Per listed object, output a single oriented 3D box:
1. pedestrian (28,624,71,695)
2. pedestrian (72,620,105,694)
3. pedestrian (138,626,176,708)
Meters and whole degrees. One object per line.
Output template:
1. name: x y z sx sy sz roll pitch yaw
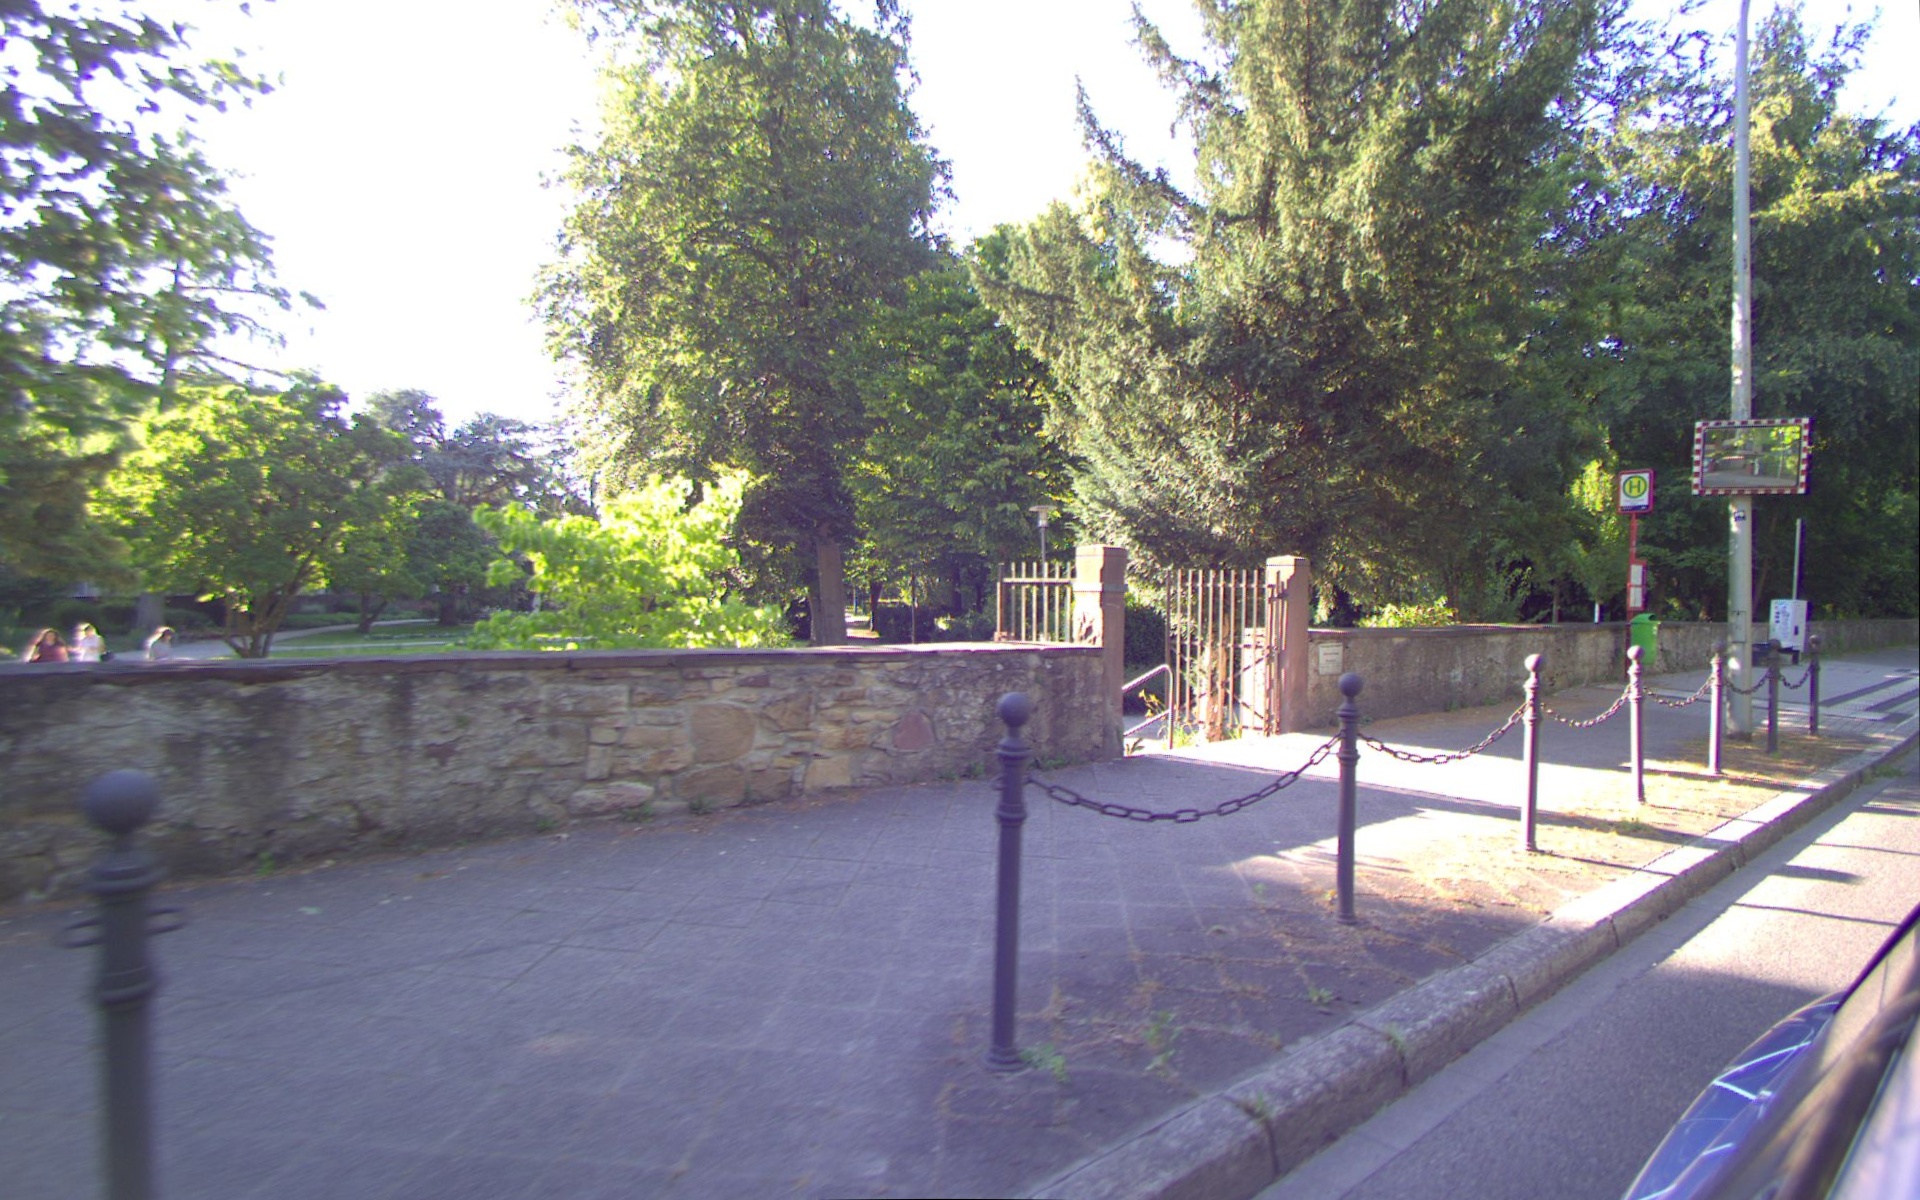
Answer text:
1. pedestrian: -21.698 1.410 24.126 0.747 1.639 0.565 0 -2 -41
2. pedestrian: -21.160 1.381 24.575 0.587 1.752 0.590 0 -2 -40
3. pedestrian: -16.813 1.391 21.192 0.625 1.662 0.616 0 -2 -39
